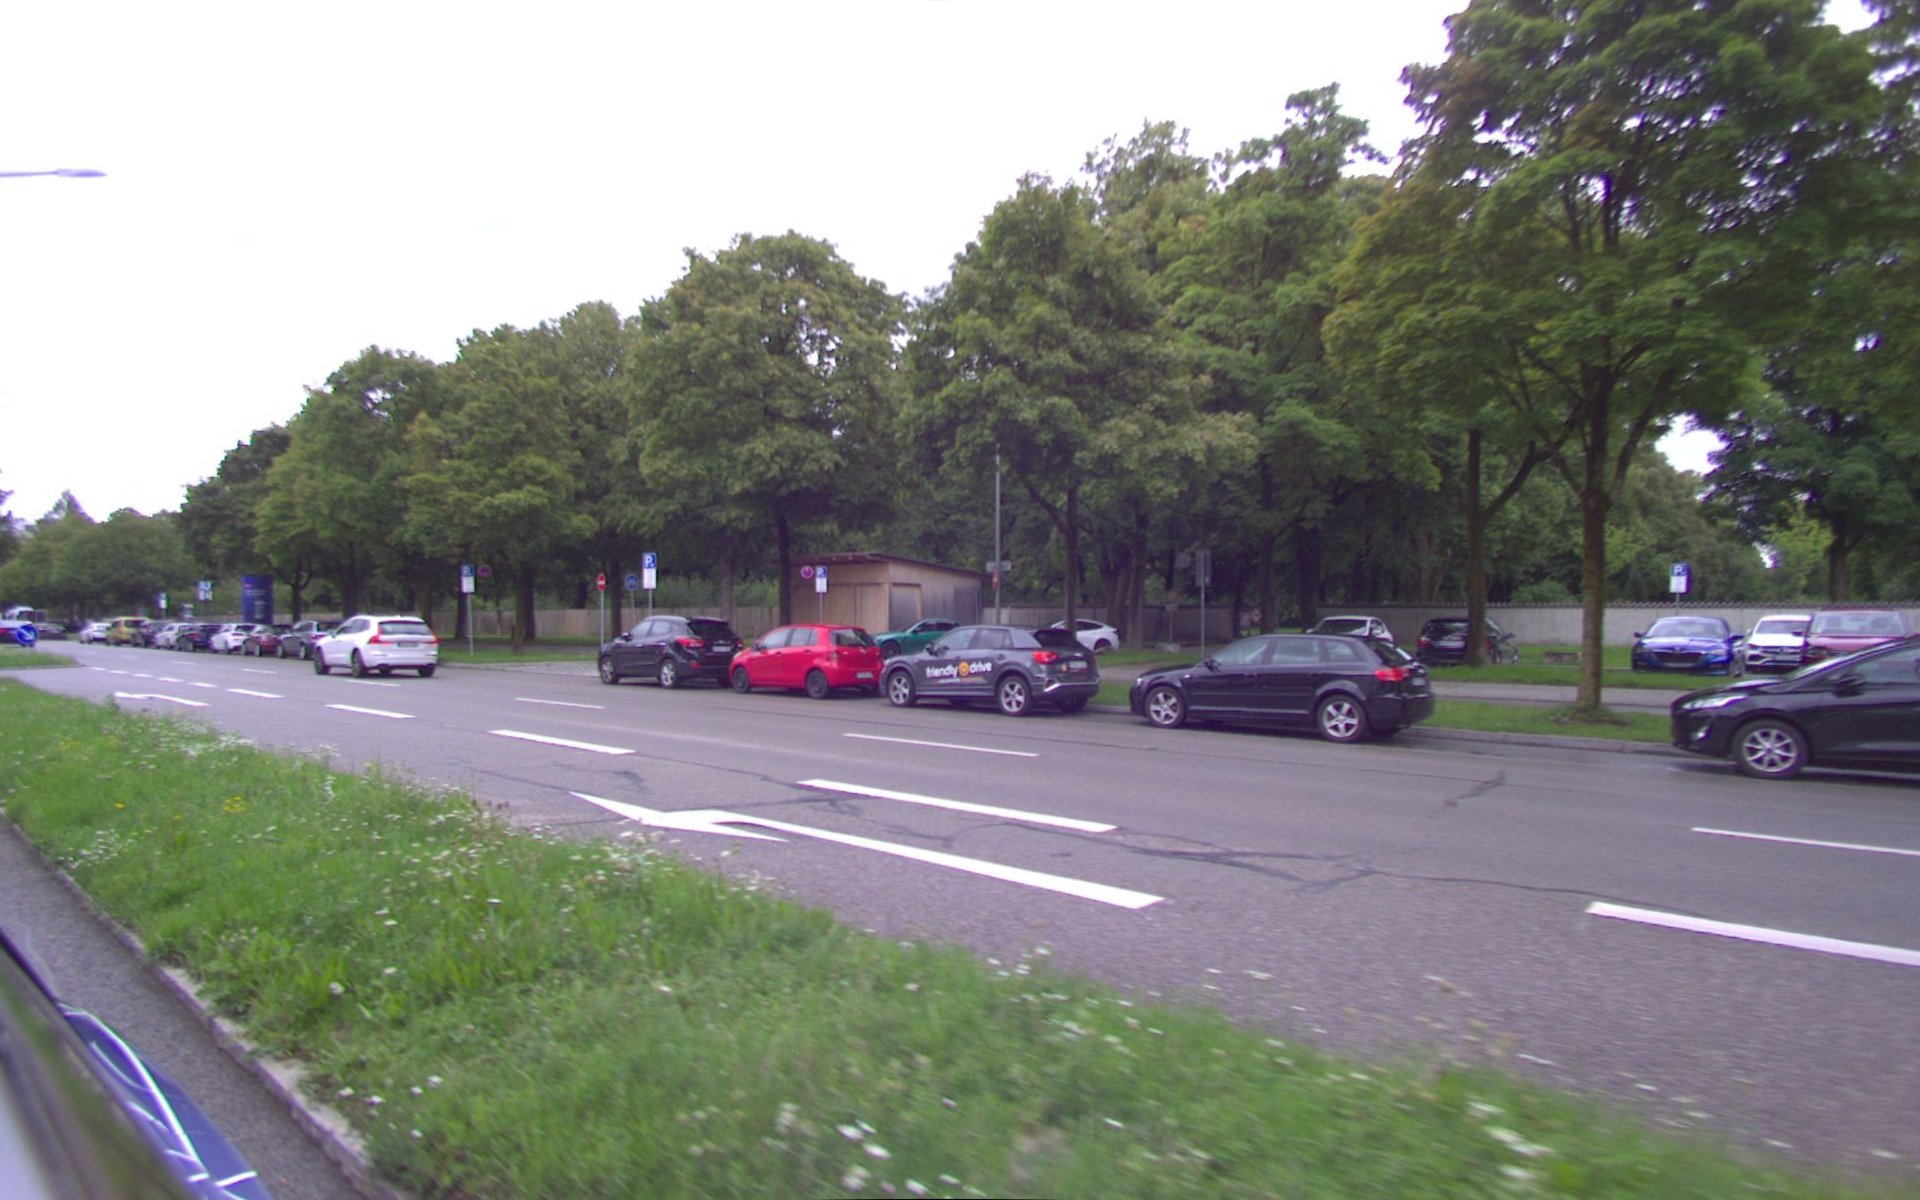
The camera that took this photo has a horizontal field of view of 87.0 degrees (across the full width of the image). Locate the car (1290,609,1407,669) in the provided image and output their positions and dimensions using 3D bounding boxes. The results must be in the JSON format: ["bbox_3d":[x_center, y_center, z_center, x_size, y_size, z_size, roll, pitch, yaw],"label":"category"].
[{"bbox_3d":[10.349,0.979,26.788,1.996,1.453,3.952,-1,-1,35],"label":"car"}]

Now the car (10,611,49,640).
[{"bbox_3d":[-85.730,2.364,93.213,4.495,2.611,1.974,-1,-3,39],"label":"car"}]

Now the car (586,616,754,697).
[{"bbox_3d":[-6.988,1.279,24.194,4.236,1.712,1.803,0,-1,40],"label":"car"}]

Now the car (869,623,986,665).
[{"bbox_3d":[-1.184,1.547,36.342,3.793,1.420,1.865,0,-1,-19],"label":"car"}]

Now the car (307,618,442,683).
[{"bbox_3d":[-15.982,1.354,27.544,4.400,1.612,1.831,-1,-4,41],"label":"car"}]

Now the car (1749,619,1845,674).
[{"bbox_3d":[24.367,1.288,29.484,1.998,1.453,4.459,-1,-1,40],"label":"car"}]

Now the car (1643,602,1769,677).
[{"bbox_3d":[15.950,0.795,21.785,1.996,1.453,3.952,-1,-1,35],"label":"car"}]

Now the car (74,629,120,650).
[{"bbox_3d":[-60.539,2.772,70.946,4.037,1.454,1.695,-1,-3,39],"label":"car"}]

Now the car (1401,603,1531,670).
[{"bbox_3d":[12.223,0.830,24.324,1.998,1.453,4.095,-1,-1,38],"label":"car"}]

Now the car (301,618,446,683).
[{"bbox_3d":[-16.126,1.328,27.736,4.681,1.632,2.004,-1,-3,41],"label":"car"}]

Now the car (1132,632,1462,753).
[{"bbox_3d":[4.580,1.178,14.116,4.000,1.420,1.801,-1,-3,43],"label":"car"}]

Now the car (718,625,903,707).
[{"bbox_3d":[-3.202,1.308,21.328,3.807,1.490,1.803,0,-1,40],"label":"car"}]

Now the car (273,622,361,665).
[{"bbox_3d":[-26.354,1.761,41.414,4.454,1.643,1.802,-1,-3,41],"label":"car"}]

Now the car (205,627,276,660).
[{"bbox_3d":[-34.648,2.068,48.700,4.258,1.488,1.802,-1,-4,42],"label":"car"}]

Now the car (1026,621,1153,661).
[{"bbox_3d":[4.878,1.507,38.295,4.392,1.420,1.865,0,-1,-18],"label":"car"}]

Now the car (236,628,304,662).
[{"bbox_3d":[-30.907,2.018,45.278,3.685,1.433,1.632,-1,-4,42],"label":"car"}]

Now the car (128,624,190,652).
[{"bbox_3d":[-47.592,2.237,60.108,4.037,1.628,1.982,-1,-3,39],"label":"car"}]

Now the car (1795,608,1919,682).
[{"bbox_3d":[17.590,0.829,19.699,1.737,1.293,3.952,-1,-2,35],"label":"car"}]

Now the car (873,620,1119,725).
[{"bbox_3d":[0.537,1.164,17.632,4.112,1.611,1.802,-1,-2,42],"label":"car"}]

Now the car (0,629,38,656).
[{"bbox_3d":[-53.197,2.342,56.576,4.778,1.459,1.797,-1,-2,40],"label":"car"}]

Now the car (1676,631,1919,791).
[{"bbox_3d":[9.479,1.052,9.910,3.993,1.459,1.805,-1,-3,37],"label":"car"}]

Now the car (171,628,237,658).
[{"bbox_3d":[-39.043,2.198,52.229,3.784,1.457,1.803,-1,-4,39],"label":"car"}]

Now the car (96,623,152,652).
[{"bbox_3d":[-52.868,2.361,63.990,4.529,1.784,1.839,-1,-3,39],"label":"car"}]

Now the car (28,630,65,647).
[{"bbox_3d":[-76.386,3.206,84.603,4.037,1.420,1.695,-1,-3,39],"label":"car"}]

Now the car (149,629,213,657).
[{"bbox_3d":[-42.918,2.329,55.745,4.296,1.481,1.804,-1,-3,39],"label":"car"}]

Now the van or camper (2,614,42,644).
[{"bbox_3d":[-89.672,2.782,96.721,4.926,2.829,1.974,-1,-3,39],"label":"van or camper"}]
